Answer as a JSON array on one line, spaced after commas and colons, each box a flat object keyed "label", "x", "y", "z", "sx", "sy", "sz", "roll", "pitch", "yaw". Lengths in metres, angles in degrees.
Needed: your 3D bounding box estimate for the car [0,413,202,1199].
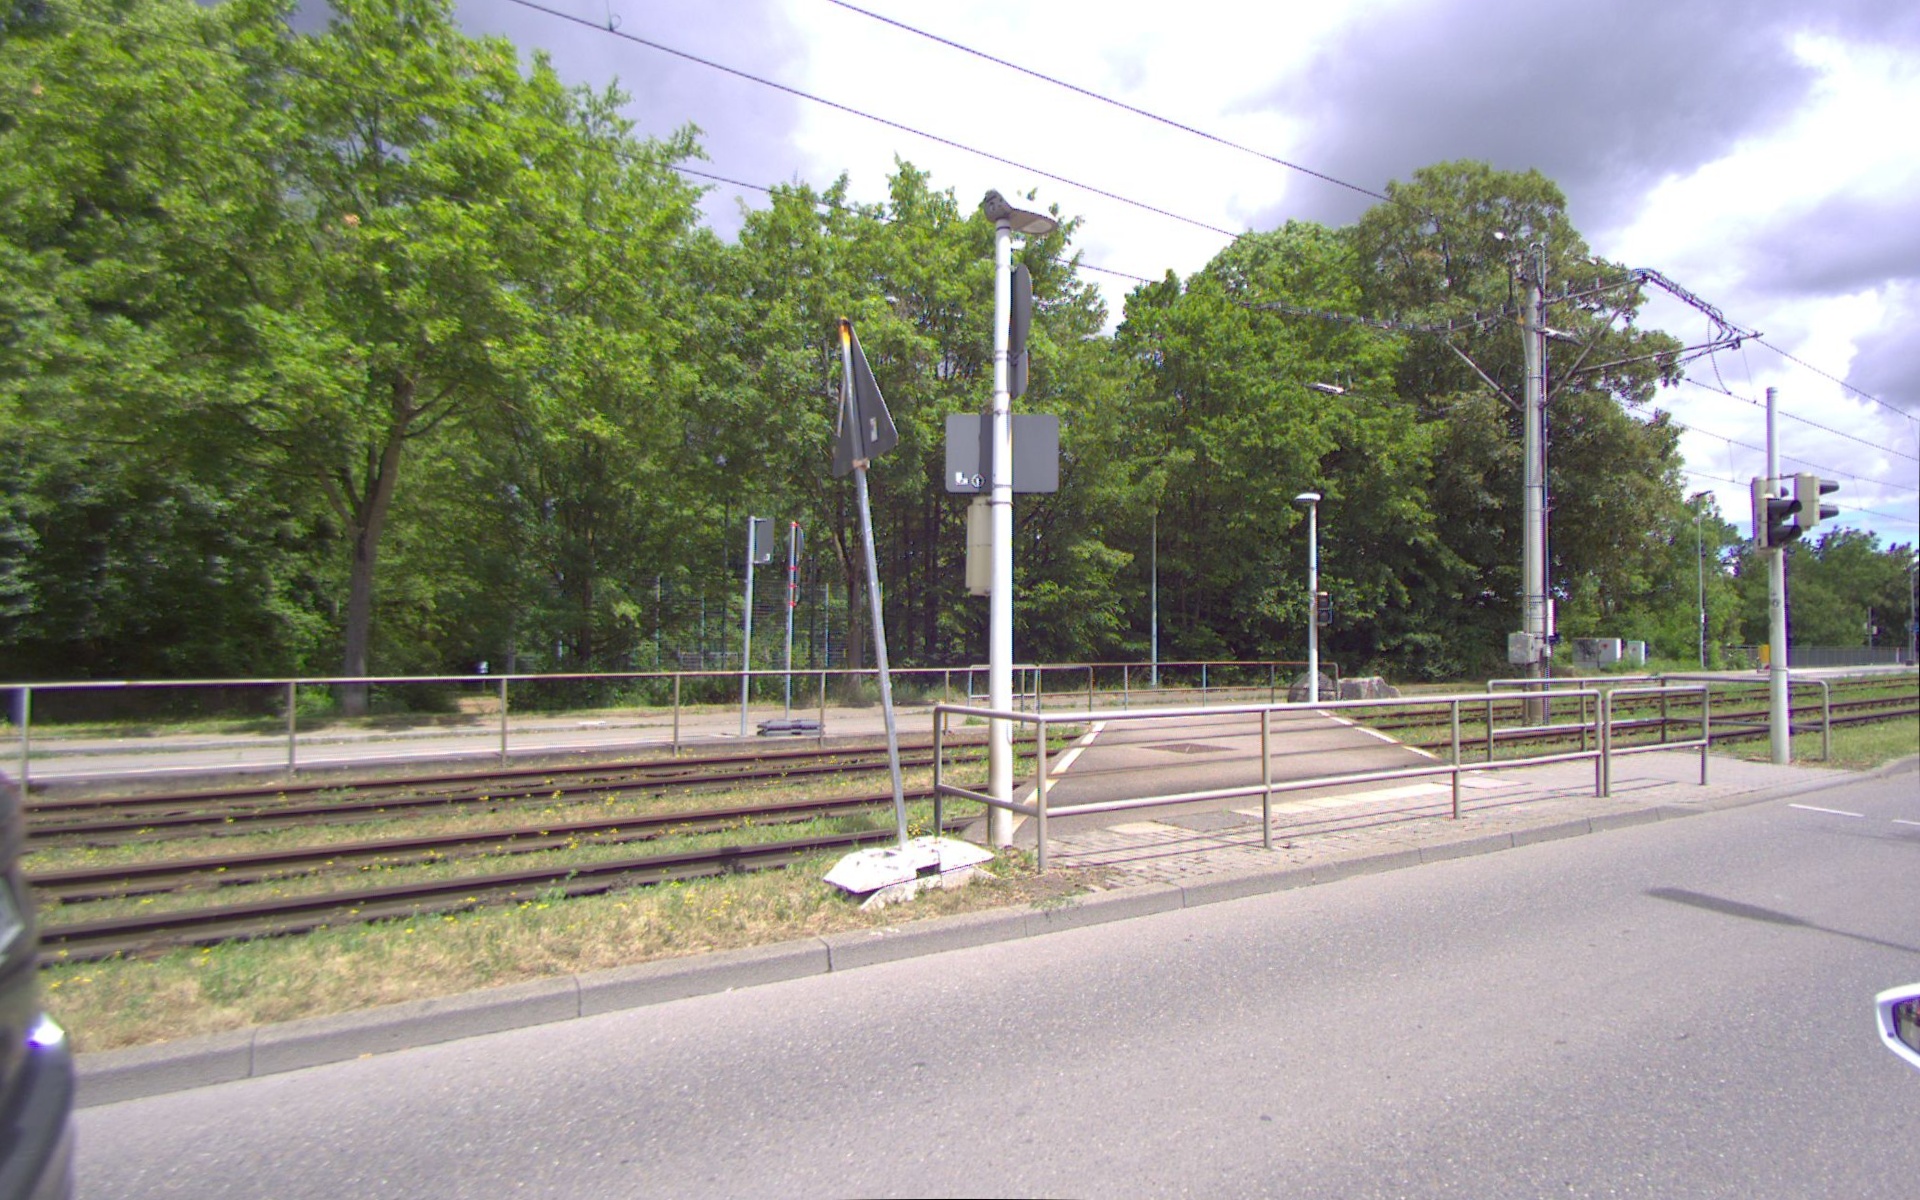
[{"label": "car", "x": -3.130, "y": 0.606, "z": 0.513, "sx": 4.180, "sy": 1.698, "sz": 1.698, "roll": 1, "pitch": -1, "yaw": -32}]
